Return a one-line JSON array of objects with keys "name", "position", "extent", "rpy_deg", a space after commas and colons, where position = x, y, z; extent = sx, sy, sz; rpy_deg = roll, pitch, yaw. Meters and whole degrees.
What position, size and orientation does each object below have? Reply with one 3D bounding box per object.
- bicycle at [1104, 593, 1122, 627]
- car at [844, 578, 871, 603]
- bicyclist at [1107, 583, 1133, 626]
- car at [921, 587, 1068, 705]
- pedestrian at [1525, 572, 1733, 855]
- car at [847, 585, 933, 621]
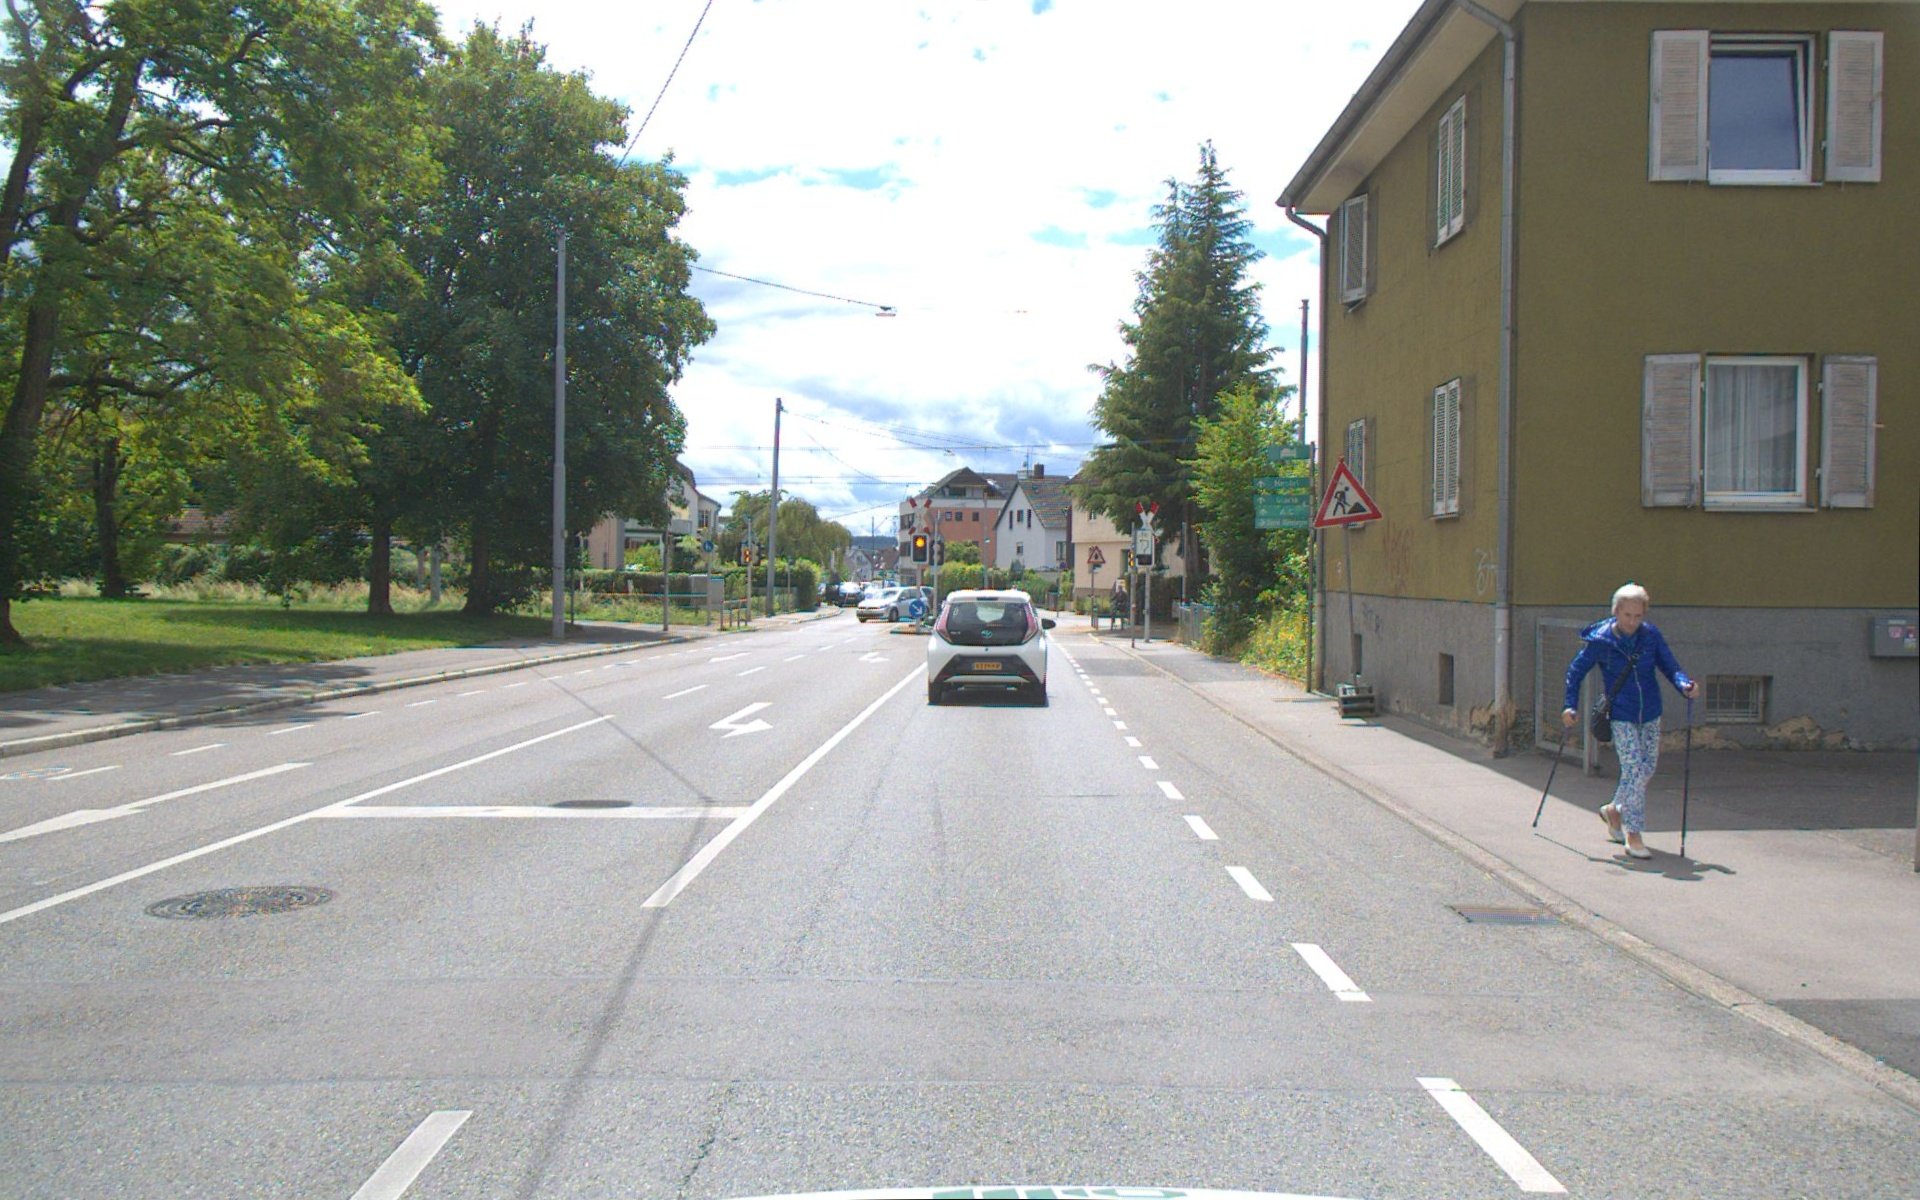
[{"name": "bicycle", "position": [5.873, 0.379, 63.527], "extent": [0.448, 1.192, 1.478], "rpy_deg": [-2, 3, -4]}, {"name": "car", "position": [-7.652, -0.717, 123.129], "extent": [1.954, 1.749, 3.997], "rpy_deg": [2, 0, -4]}, {"name": "bicyclist", "position": [6.134, 0.169, 63.443], "extent": [0.824, 1.580, 0.756], "rpy_deg": [-2, 3, -4]}, {"name": "car", "position": [0.554, 0.585, 23.059], "extent": [1.684, 1.467, 3.711], "rpy_deg": [2, 0, 6]}, {"name": "pedestrian", "position": [3.986, 0.641, 9.933], "extent": [0.807, 1.599, 0.987], "rpy_deg": [-1, 0, -3]}, {"name": "car", "position": [-3.013, 0.134, 72.012], "extent": [1.870, 1.466, 4.091], "rpy_deg": [2, 0, 30]}]
